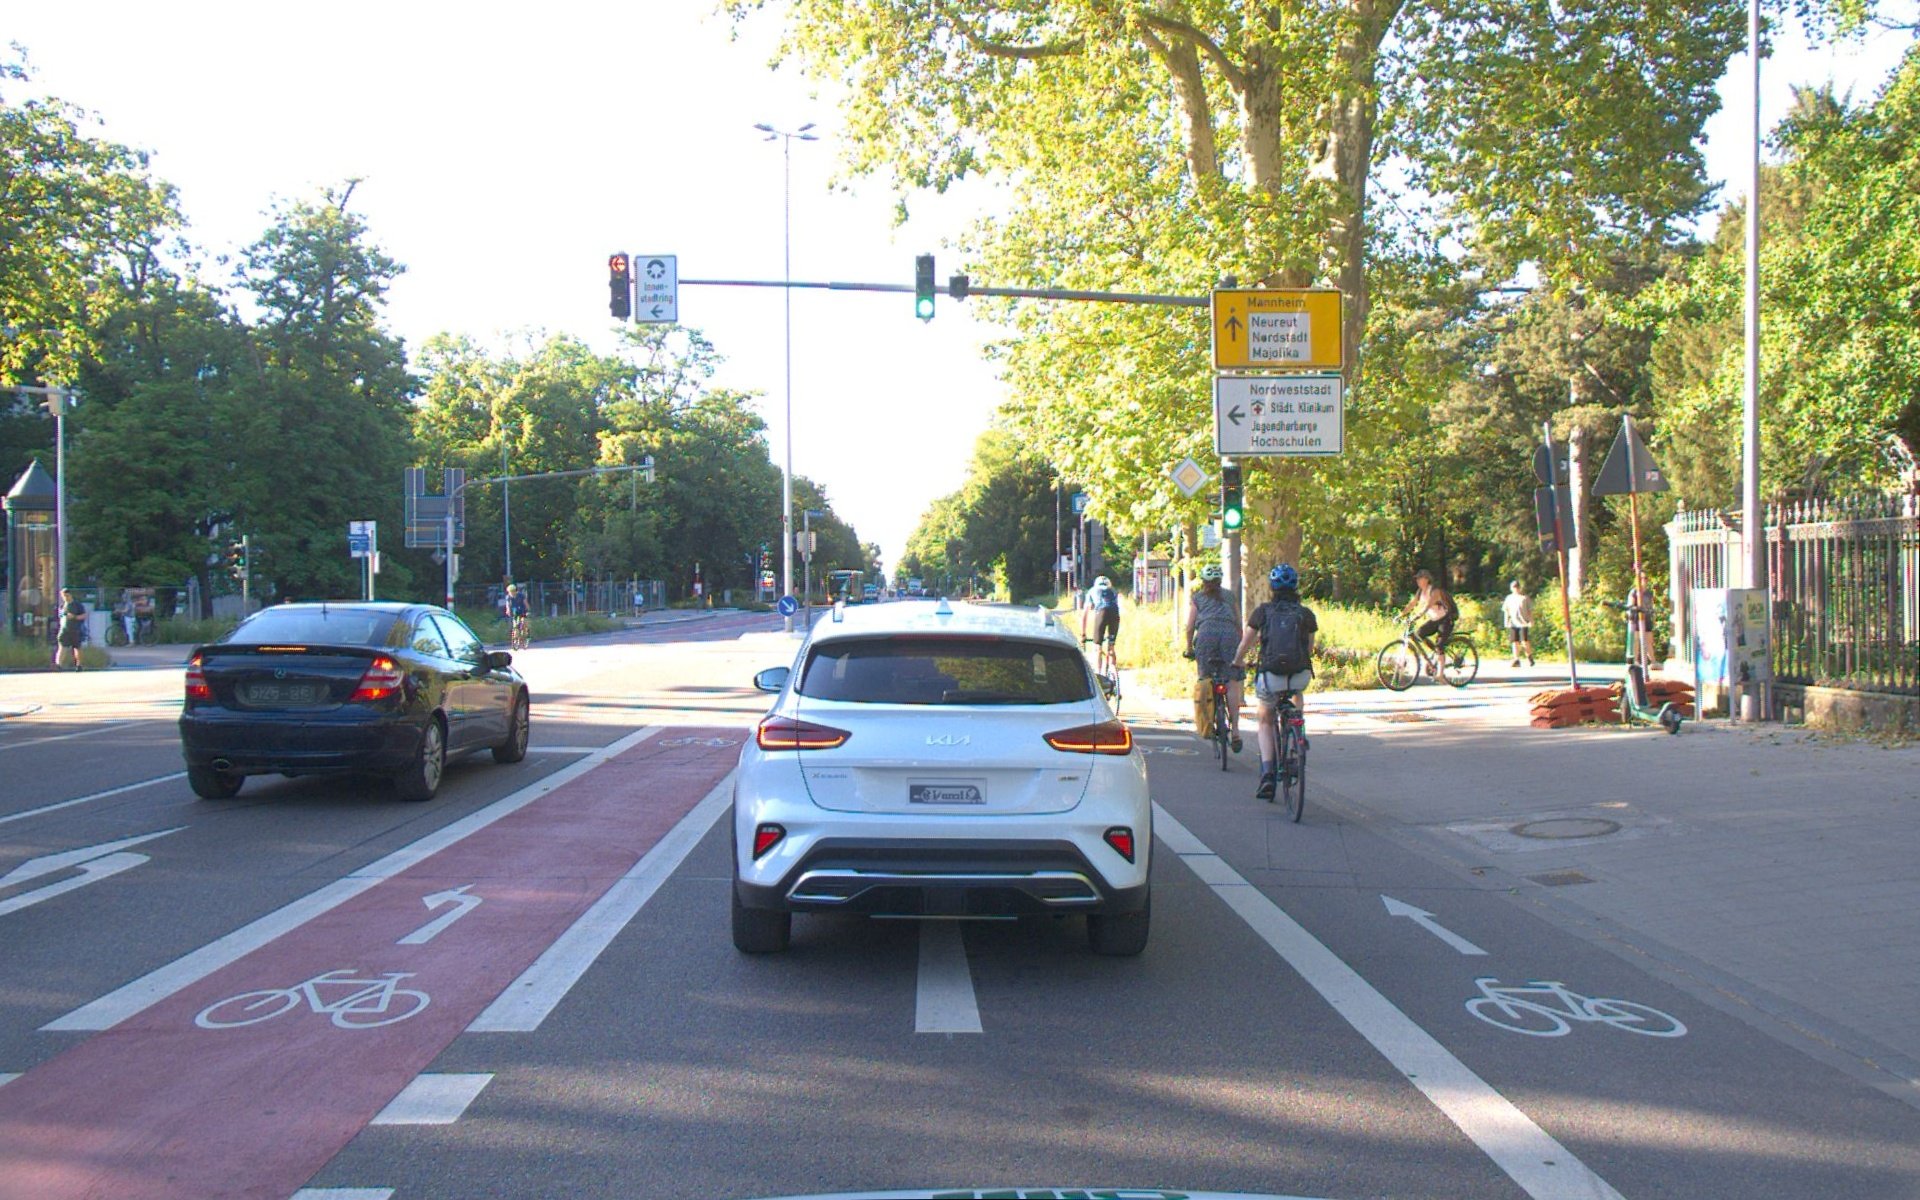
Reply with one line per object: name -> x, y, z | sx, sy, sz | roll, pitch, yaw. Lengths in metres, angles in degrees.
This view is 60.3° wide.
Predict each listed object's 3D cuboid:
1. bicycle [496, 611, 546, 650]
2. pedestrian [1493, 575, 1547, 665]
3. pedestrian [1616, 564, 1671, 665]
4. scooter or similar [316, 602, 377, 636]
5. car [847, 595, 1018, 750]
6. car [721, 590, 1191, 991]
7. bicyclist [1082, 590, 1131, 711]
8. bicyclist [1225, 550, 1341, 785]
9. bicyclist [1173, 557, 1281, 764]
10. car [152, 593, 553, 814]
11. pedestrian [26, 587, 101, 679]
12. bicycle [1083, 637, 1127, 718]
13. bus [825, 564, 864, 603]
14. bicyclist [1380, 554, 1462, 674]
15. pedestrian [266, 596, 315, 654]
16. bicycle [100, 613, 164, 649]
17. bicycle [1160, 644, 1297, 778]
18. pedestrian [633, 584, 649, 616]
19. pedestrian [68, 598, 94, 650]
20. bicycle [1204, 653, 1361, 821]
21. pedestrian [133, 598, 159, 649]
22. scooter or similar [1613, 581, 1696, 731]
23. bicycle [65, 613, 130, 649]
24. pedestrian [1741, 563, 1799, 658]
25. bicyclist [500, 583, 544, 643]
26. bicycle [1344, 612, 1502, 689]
bicycle -> -12.220, 0.842, 46.125 | 0.650, 1.006, 2.504 | -1, 0, 1
pedestrian -> 9.852, 0.341, 29.068 | 0.802, 1.544, 0.915 | 0, 0, 25
pedestrian -> 11.823, 0.244, 28.612 | 0.675, 1.729, 0.644 | 0, 0, -1
scooter or similar -> -20.777, 0.636, 55.999 | 0.697, 1.144, 1.916 | 0, 0, 32
car -> -0.348, 0.720, 18.439 | 1.694, 1.509, 3.515 | -1, 0, -3
car -> -0.083, 0.706, 8.254 | 1.785, 1.506, 3.934 | 0, 0, -2
bicyclist -> 1.857, 0.633, 21.063 | 0.543, 1.504, 0.716 | 0, 0, -1
bicyclist -> 2.306, 0.467, 11.881 | 0.652, 1.630, 0.720 | 1, 0, -2
bicyclist -> 2.445, 0.533, 15.256 | 0.738, 1.827, 1.164 | 1, 0, -2
car -> -4.616, 0.687, 13.272 | 1.670, 1.429, 4.264 | -1, 0, -1
pedestrian -> -20.353, 0.737, 37.565 | 0.974, 2.049, 1.191 | 0, 0, 4
bicycle -> 1.839, 0.968, 21.062 | 0.393, 0.973, 1.550 | 0, 0, -1
bus -> -11.654, -1.685, 167.777 | 3.667, 3.737, 13.230 | -1, 0, -4
bicyclist -> 6.536, 0.193, 23.463 | 0.832, 1.641, 0.733 | -2, 0, -13
pedestrian -> -19.327, 0.720, 47.779 | 1.067, 1.631, 0.999 | -1, 0, -7
bicycle -> -26.613, 0.997, 53.190 | 1.826, 1.168, 0.290 | 0, 0, -8
bicycle -> 2.432, 0.975, 15.320 | 0.742, 1.031, 2.568 | 1, 0, -2
pedestrian -> -18.021, -0.013, 93.440 | 0.769, 1.817, 0.751 | 0, 0, 0
pedestrian -> -28.188, 0.775, 53.027 | 0.617, 1.671, 0.444 | 0, 0, -11
bicycle -> 2.296, 0.946, 12.018 | 0.655, 1.027, 2.080 | 1, 0, -2
pedestrian -> -26.109, 0.757, 53.058 | 0.617, 1.608, 0.444 | 0, 0, -11
scooter or similar -> 6.524, 0.501, 15.566 | 0.223, 1.350, 1.171 | -1, 0, -2
bicycle -> -27.841, 1.002, 53.399 | 1.826, 1.168, 0.442 | 0, 0, -8
pedestrian -> 14.707, 0.193, 30.047 | 0.808, 1.711, 0.694 | 0, -1, 13
bicyclist -> -12.231, 0.344, 46.199 | 0.857, 1.636, 1.188 | -1, 0, 1
bicycle -> 6.566, 0.703, 23.469 | 2.057, 0.993, 0.748 | -2, 0, -14
